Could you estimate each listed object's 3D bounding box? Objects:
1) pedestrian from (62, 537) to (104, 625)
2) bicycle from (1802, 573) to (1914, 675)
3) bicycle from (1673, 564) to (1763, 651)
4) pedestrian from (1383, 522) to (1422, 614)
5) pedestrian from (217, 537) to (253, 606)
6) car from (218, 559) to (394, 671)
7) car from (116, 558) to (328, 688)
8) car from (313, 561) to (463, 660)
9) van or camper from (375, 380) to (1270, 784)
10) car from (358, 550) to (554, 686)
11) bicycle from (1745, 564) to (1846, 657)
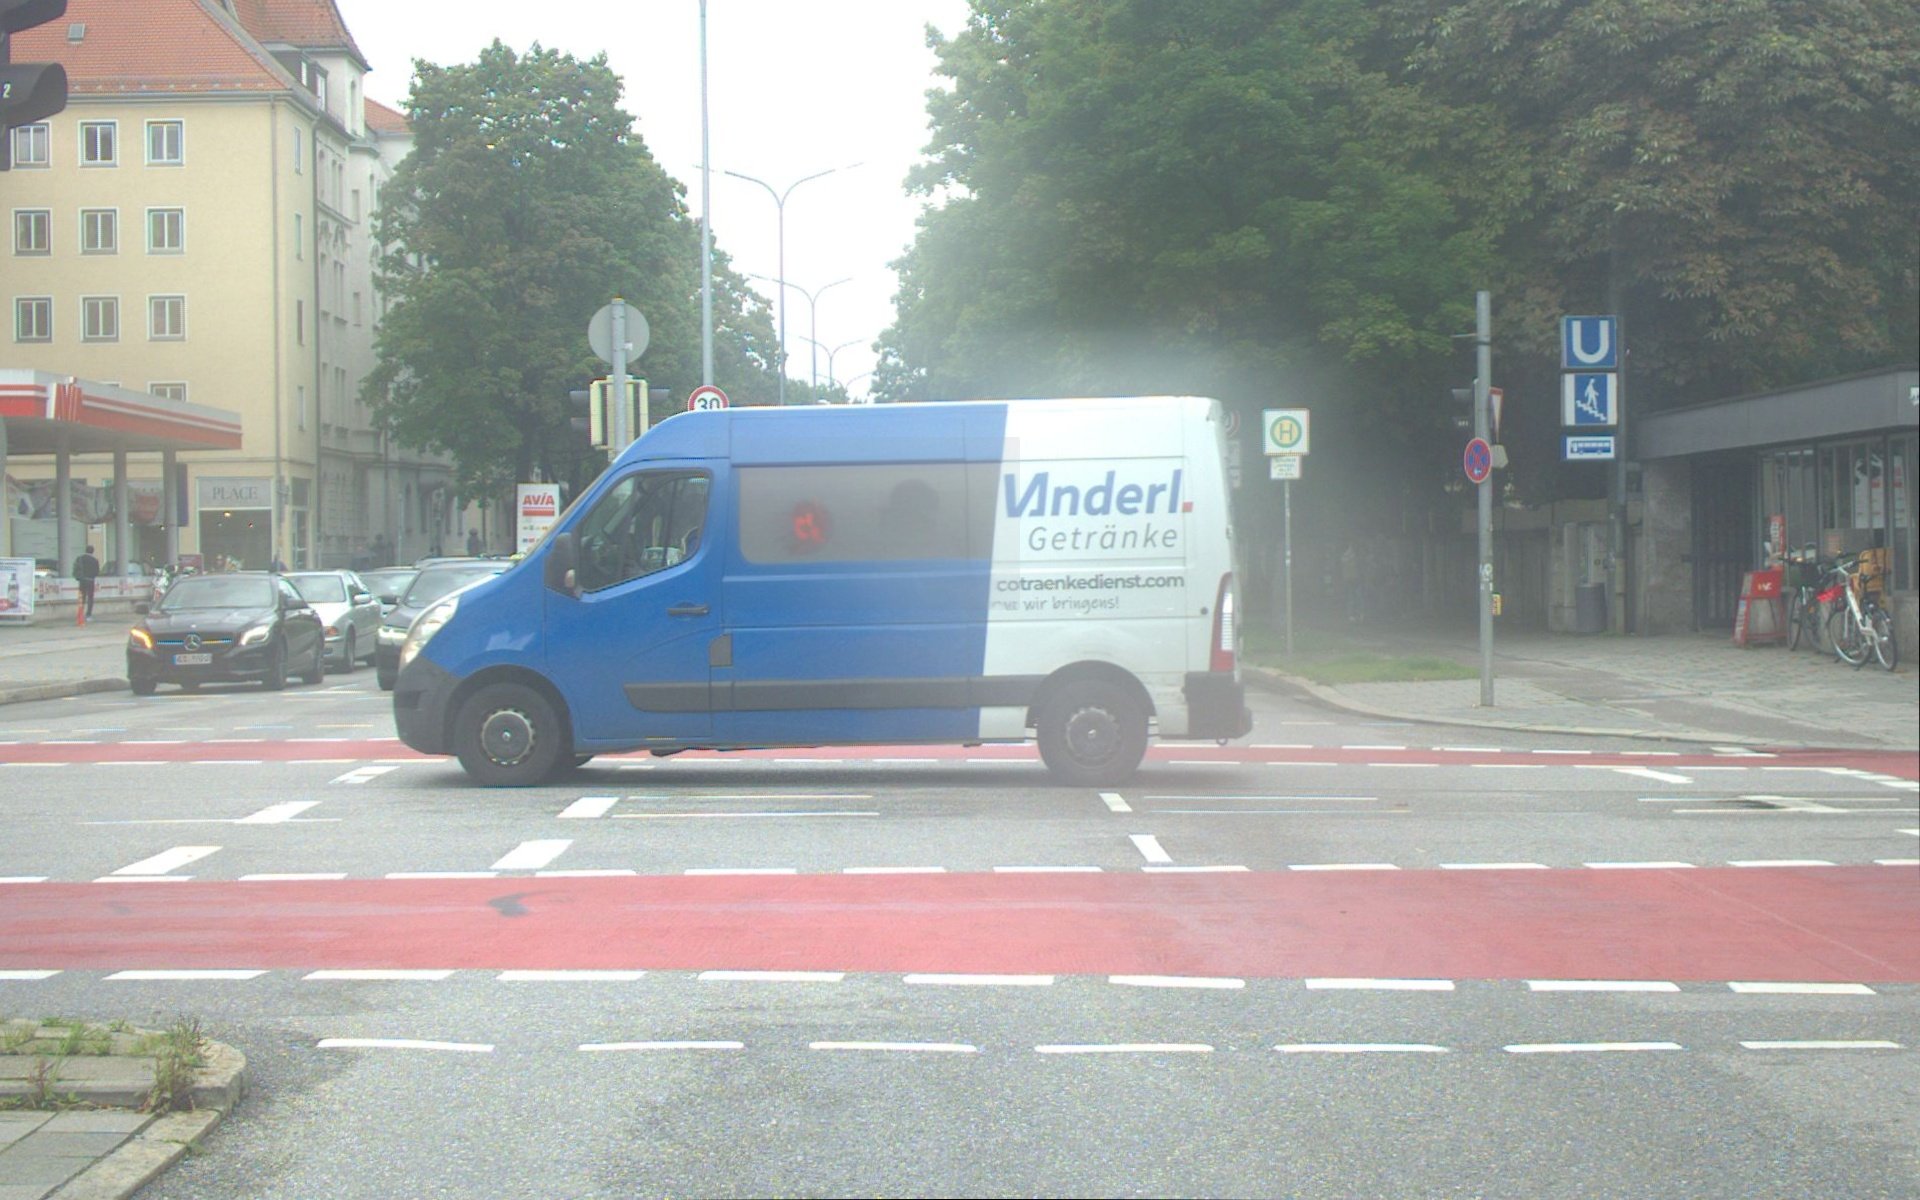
[{"bbox_3d":[-20.291,-0.448,79.587,0.730,2.007,0.834,1,0,-1],"label":"pedestrian"},{"bbox_3d":[9.410,0.239,36.084,0.556,1.011,2.016,-1,1,-3],"label":"bicycle"},{"bbox_3d":[9.227,0.077,41.928,0.556,1.011,2.016,-1,1,-3],"label":"bicycle"},{"bbox_3d":[8.160,-0.596,63.474,0.678,1.677,0.682,0,1,5],"label":"pedestrian"},{"bbox_3d":[-17.454,-0.692,82.725,0.696,1.632,0.738,-1,1,-1],"label":"pedestrian"},{"bbox_3d":[-9.149,0.180,48.350,1.759,1.455,4.000,-1,1,-1],"label":"car"},{"bbox_3d":[-8.857,0.244,41.557,1.759,1.455,4.000,-1,1,-1],"label":"car"},{"bbox_3d":[-9.026,0.135,54.484,1.759,1.455,4.000,-1,1,-1],"label":"car"},{"bbox_3d":[-0.809,-0.119,22.344,5.553,2.461,2.067,0,1,4],"label":"van or camper"},{"bbox_3d":[-5.859,0.172,40.355,1.759,1.488,4.000,-1,1,-1],"label":"car"},{"bbox_3d":[9.420,0.103,38.816,0.556,1.011,2.016,-1,1,-3],"label":"bicycle"}]
